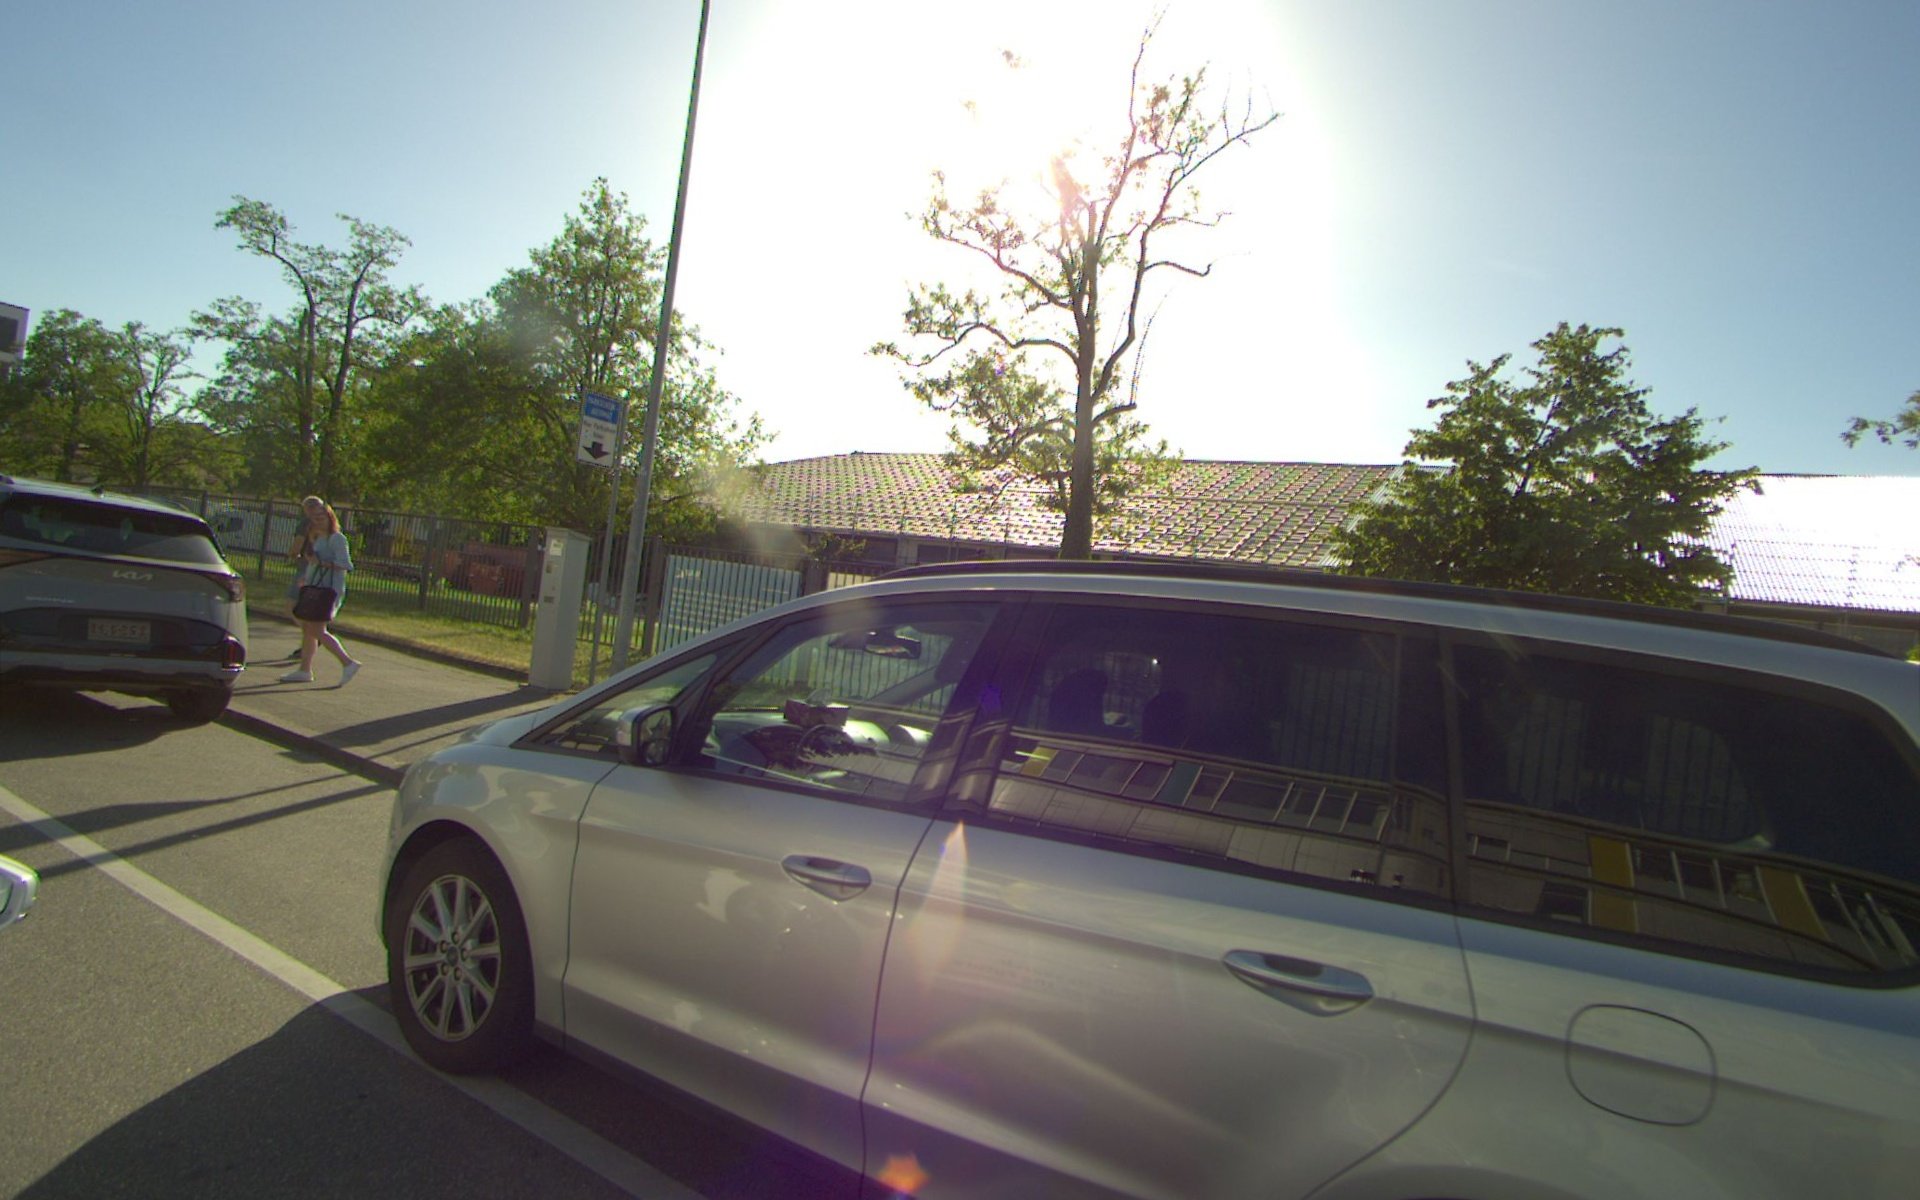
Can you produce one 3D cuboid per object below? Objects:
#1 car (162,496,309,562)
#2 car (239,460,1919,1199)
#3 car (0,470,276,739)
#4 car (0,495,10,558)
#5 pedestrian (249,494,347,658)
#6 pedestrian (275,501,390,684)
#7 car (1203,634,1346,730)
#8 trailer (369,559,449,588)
[{"bbox_3d":[-35.012,-3.377,48.746,1.970,2.228,5.286,8,-1,37],"label":"car"},{"bbox_3d":[0.056,0.725,3.078,4.625,1.741,1.814,7,-2,31],"label":"car"},{"bbox_3d":[-7.339,-0.119,7.734,4.281,1.624,1.704,7,-2,32],"label":"car"},{"bbox_3d":[-12.202,-0.658,10.781,3.912,1.504,1.706,7,-2,29],"label":"car"},{"bbox_3d":[-7.327,-0.259,11.152,0.513,1.727,0.522,7,-2,29],"label":"pedestrian"},{"bbox_3d":[-5.996,-0.066,9.616,0.678,1.629,0.535,9,-2,-39],"label":"pedestrian"},{"bbox_3d":[7.318,1.955,23.010,2.059,1.662,4.982,7,-3,29],"label":"car"},{"bbox_3d":[-28.839,-1.398,52.595,5.036,0.930,1.897,7,-2,40],"label":"trailer"}]
